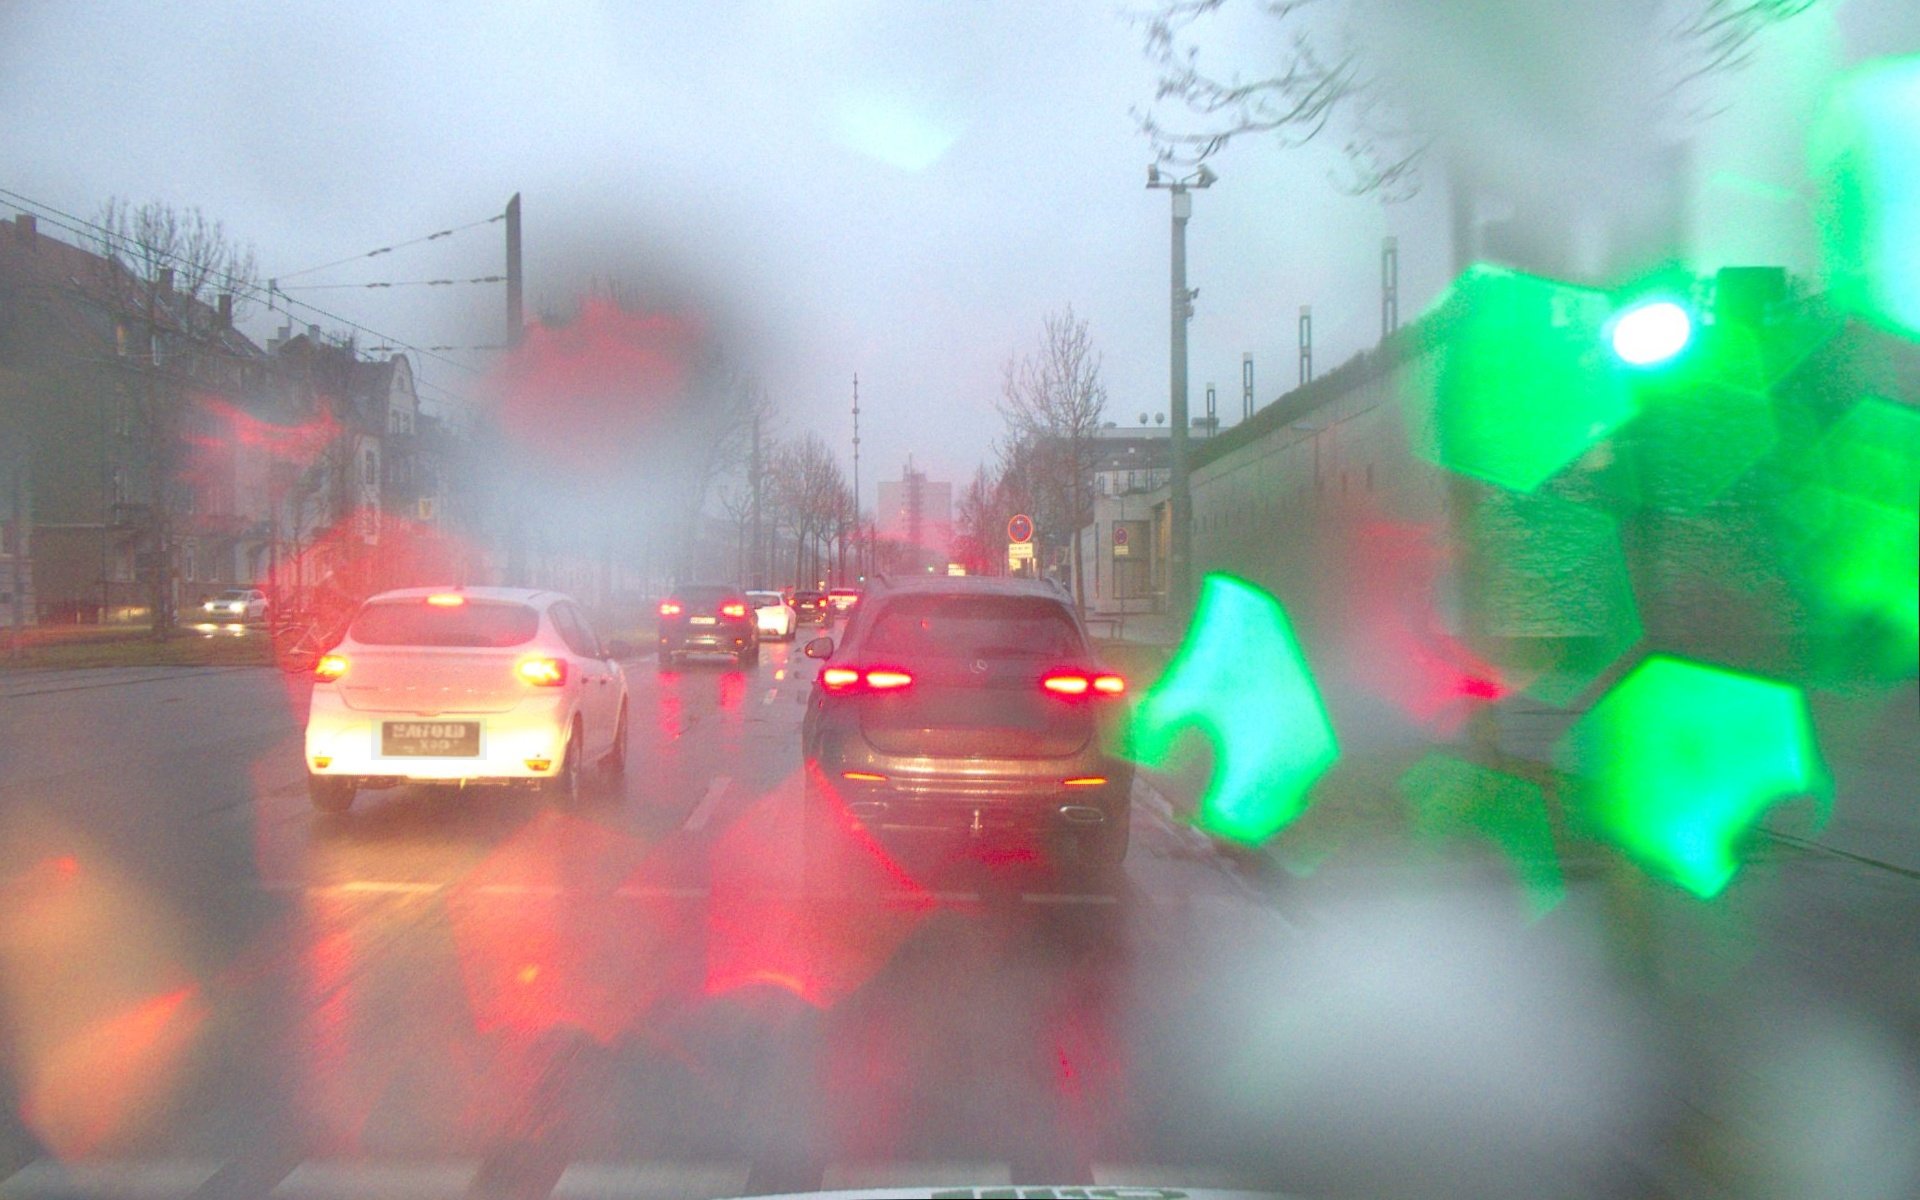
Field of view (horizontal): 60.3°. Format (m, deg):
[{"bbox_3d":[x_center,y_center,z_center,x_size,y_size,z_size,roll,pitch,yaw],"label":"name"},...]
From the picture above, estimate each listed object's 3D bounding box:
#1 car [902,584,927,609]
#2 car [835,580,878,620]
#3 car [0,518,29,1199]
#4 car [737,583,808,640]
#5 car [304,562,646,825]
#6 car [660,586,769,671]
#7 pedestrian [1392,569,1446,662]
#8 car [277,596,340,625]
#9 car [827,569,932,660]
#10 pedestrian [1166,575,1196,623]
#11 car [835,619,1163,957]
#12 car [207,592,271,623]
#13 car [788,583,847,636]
[{"bbox_3d":[-3.837,-0.308,140.017,1.952,2.049,4.000,-1,0,1],"label":"car"},{"bbox_3d":[-5.478,0.027,88.084,1.952,2.049,4.000,1,-1,1],"label":"car"},{"bbox_3d":[-2.961,0.629,1.733,1.773,1.628,4.052,0,0,-2],"label":"car"},{"bbox_3d":[-5.551,0.317,49.305,1.638,1.628,4.053,0,0,0],"label":"car"},{"bbox_3d":[-3.403,0.581,12.343,1.639,1.628,4.049,0,0,-5],"label":"car"},{"bbox_3d":[-5.004,0.551,34.213,1.638,1.628,4.053,0,0,0],"label":"car"},{"bbox_3d":[8.297,0.269,29.928,0.609,1.639,1.066,-1,0,-4],"label":"pedestrian"},{"bbox_3d":[-32.221,0.499,81.921,1.740,1.378,3.556,-1,1,-1],"label":"car"},{"bbox_3d":[-1.616,0.275,34.445,1.953,1.774,4.000,-1,0,0],"label":"car"},{"bbox_3d":[7.709,-0.026,57.674,0.919,1.646,0.694,-1,0,-4],"label":"pedestrian"},{"bbox_3d":[0.199,0.972,10.344,1.638,1.628,4.053,0,0,0],"label":"car"},{"bbox_3d":[-36.643,0.359,84.160,1.740,1.526,3.556,-1,1,-1],"label":"car"},{"bbox_3d":[-5.822,0.404,67.872,1.952,2.049,4.000,1,-1,1],"label":"car"}]
